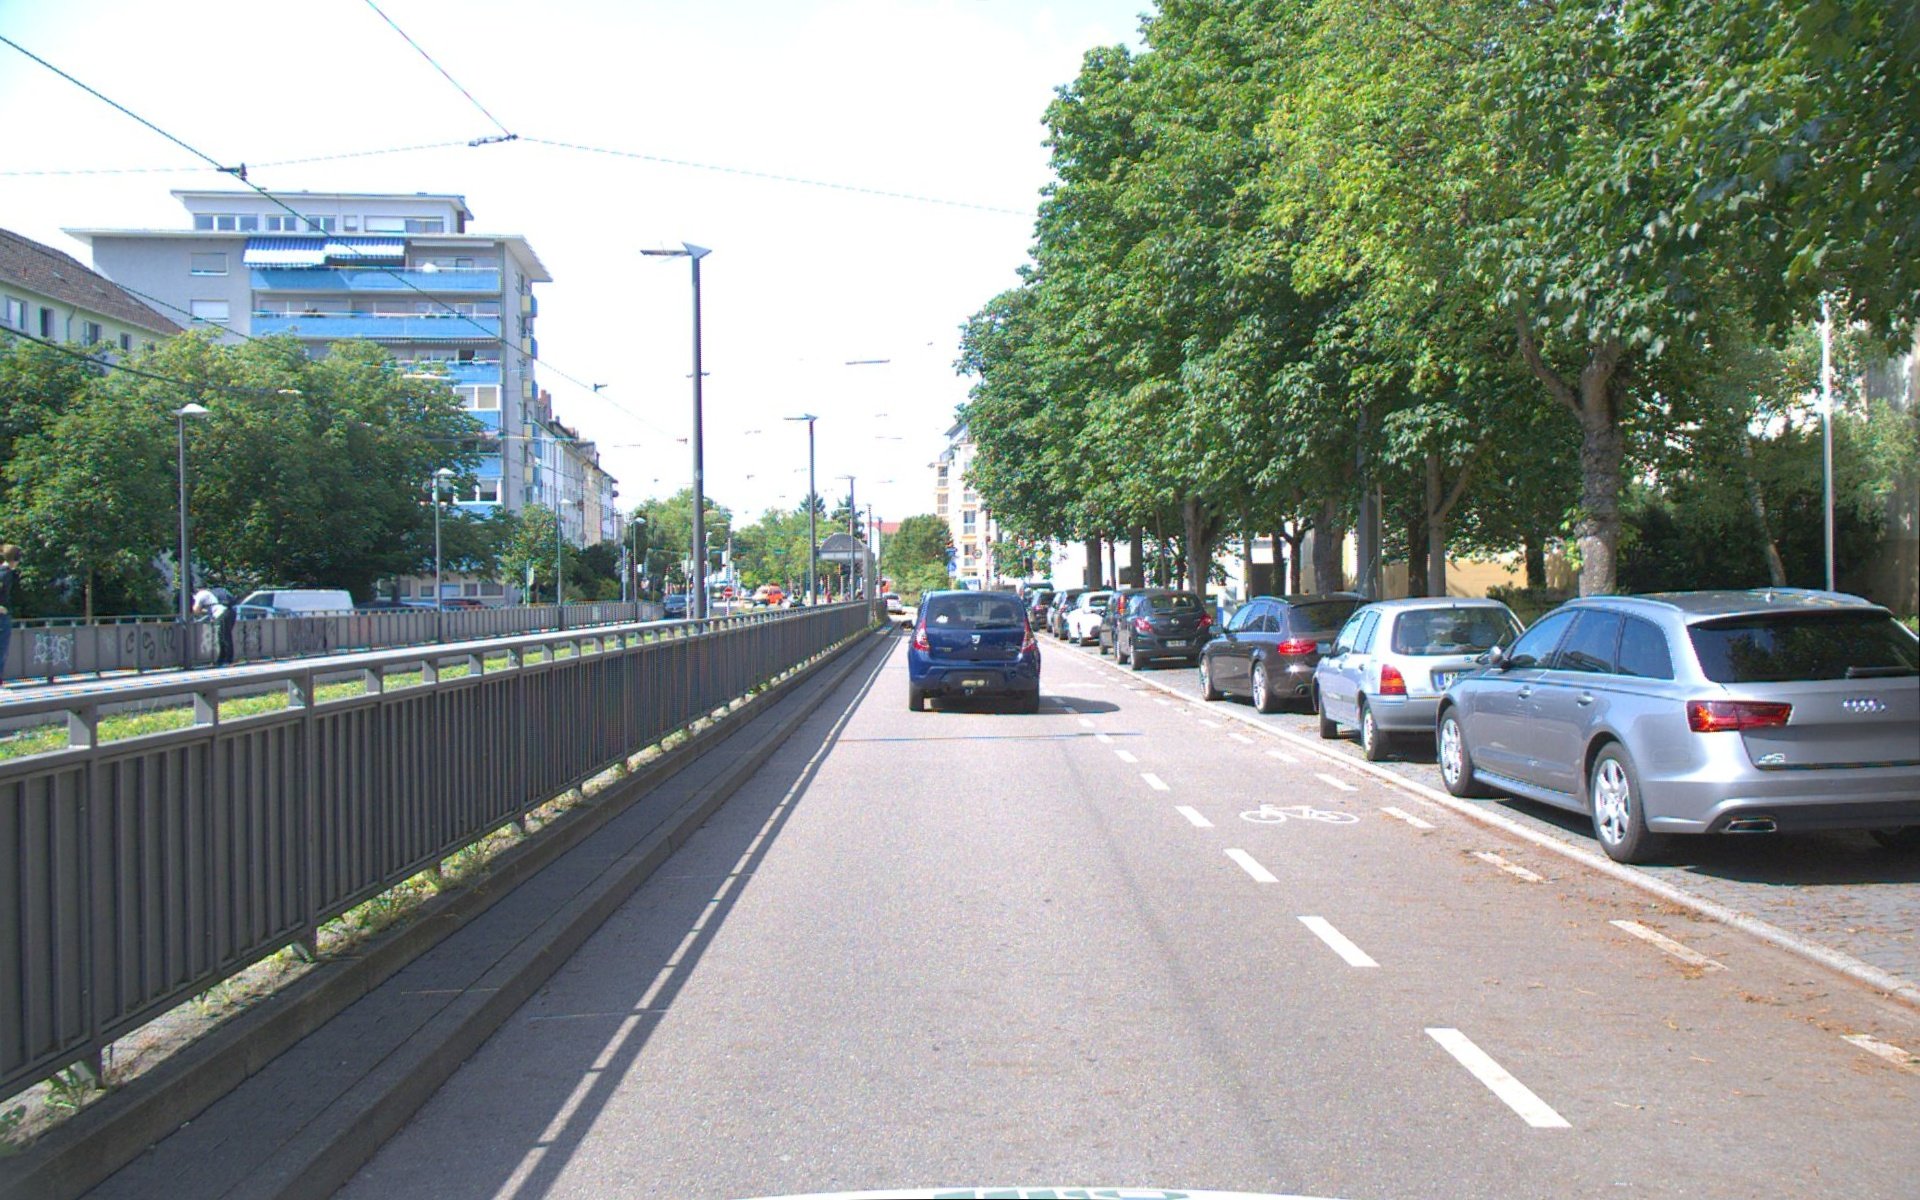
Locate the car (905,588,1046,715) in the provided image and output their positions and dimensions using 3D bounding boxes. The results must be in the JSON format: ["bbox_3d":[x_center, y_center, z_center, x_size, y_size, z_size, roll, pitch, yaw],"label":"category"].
[{"bbox_3d":[0.139,0.612,22.177,1.708,1.533,3.999,1,0,-2],"label":"car"}]

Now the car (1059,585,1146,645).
[{"bbox_3d":[4.025,0.402,47.429,1.799,1.550,4.250,-3,0,-4],"label":"car"}]

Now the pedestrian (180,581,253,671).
[{"bbox_3d":[-13.561,0.466,30.199,0.969,1.606,0.798,-1,-1,-4],"label":"pedestrian"}]

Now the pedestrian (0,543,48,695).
[{"bbox_3d":[-12.298,0.252,21.291,0.735,1.925,0.639,-1,-2,1],"label":"pedestrian"}]

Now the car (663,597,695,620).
[{"bbox_3d":[-20.703,0.644,121.839,1.955,1.674,3.996,1,0,-5],"label":"car"}]

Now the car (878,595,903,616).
[{"bbox_3d":[-5.158,0.428,122.472,1.591,1.491,3.506,1,0,-5],"label":"car"}]

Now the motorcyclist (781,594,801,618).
[{"bbox_3d":[-9.935,0.353,97.033,0.968,1.362,0.937,-2,0,-17],"label":"motorcyclist"}]

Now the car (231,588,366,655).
[{"bbox_3d":[-22.291,0.692,55.744,3.902,2.106,2.027,-1,0,-33],"label":"car"}]

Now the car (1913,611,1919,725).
[{"bbox_3d":[4.841,0.708,4.330,1.793,1.424,4.655,-4,1,-2],"label":"car"}]

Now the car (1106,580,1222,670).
[{"bbox_3d":[4.055,0.472,33.493,1.657,1.588,4.306,-4,0,-1],"label":"car"}]

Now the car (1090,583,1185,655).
[{"bbox_3d":[4.104,0.451,38.691,1.525,1.486,3.556,-5,0,-4],"label":"car"}]

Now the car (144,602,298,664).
[{"bbox_3d":[-22.332,0.967,50.031,3.960,1.668,1.802,-1,2,-39],"label":"car"}]

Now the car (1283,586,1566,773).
[{"bbox_3d":[4.306,0.652,15.957,1.602,1.456,4.015,-4,1,1],"label":"car"}]

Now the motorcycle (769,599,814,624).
[{"bbox_3d":[-9.898,0.669,97.012,2.471,1.362,1.012,-2,0,-20],"label":"motorcycle"}]

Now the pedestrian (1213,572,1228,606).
[{"bbox_3d":[12.760,-0.529,80.984,0.619,1.624,0.539,-1,-1,-4],"label":"pedestrian"}]

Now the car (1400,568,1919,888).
[{"bbox_3d":[4.512,0.604,10.751,1.792,1.466,5.048,-4,1,-1],"label":"car"}]

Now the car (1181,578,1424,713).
[{"bbox_3d":[4.362,0.565,21.902,1.795,1.492,4.826,-3,-1,-5],"label":"car"}]

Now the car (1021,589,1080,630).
[{"bbox_3d":[3.662,0.364,67.435,1.879,1.467,4.794,-4,1,-2],"label":"car"}]

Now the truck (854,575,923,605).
[{"bbox_3d":[-9.051,-1.209,209.341,8.208,3.241,2.597,-4,0,-12],"label":"truck"}]

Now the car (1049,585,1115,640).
[{"bbox_3d":[3.865,0.361,53.025,1.690,1.611,4.676,-2,0,0],"label":"car"}]

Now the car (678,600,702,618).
[{"bbox_3d":[-22.478,0.742,137.732,1.734,1.467,3.994,1,0,-7],"label":"car"}]

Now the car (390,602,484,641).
[{"bbox_3d":[-22.885,0.922,72.422,3.620,1.607,1.631,-1,0,-32],"label":"car"}]

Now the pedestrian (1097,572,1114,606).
[{"bbox_3d":[7.488,-0.578,85.061,0.729,1.726,0.767,-2,0,0],"label":"pedestrian"}]

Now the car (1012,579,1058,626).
[{"bbox_3d":[3.272,0.101,72.784,1.785,1.929,4.184,-2,1,0],"label":"car"}]
